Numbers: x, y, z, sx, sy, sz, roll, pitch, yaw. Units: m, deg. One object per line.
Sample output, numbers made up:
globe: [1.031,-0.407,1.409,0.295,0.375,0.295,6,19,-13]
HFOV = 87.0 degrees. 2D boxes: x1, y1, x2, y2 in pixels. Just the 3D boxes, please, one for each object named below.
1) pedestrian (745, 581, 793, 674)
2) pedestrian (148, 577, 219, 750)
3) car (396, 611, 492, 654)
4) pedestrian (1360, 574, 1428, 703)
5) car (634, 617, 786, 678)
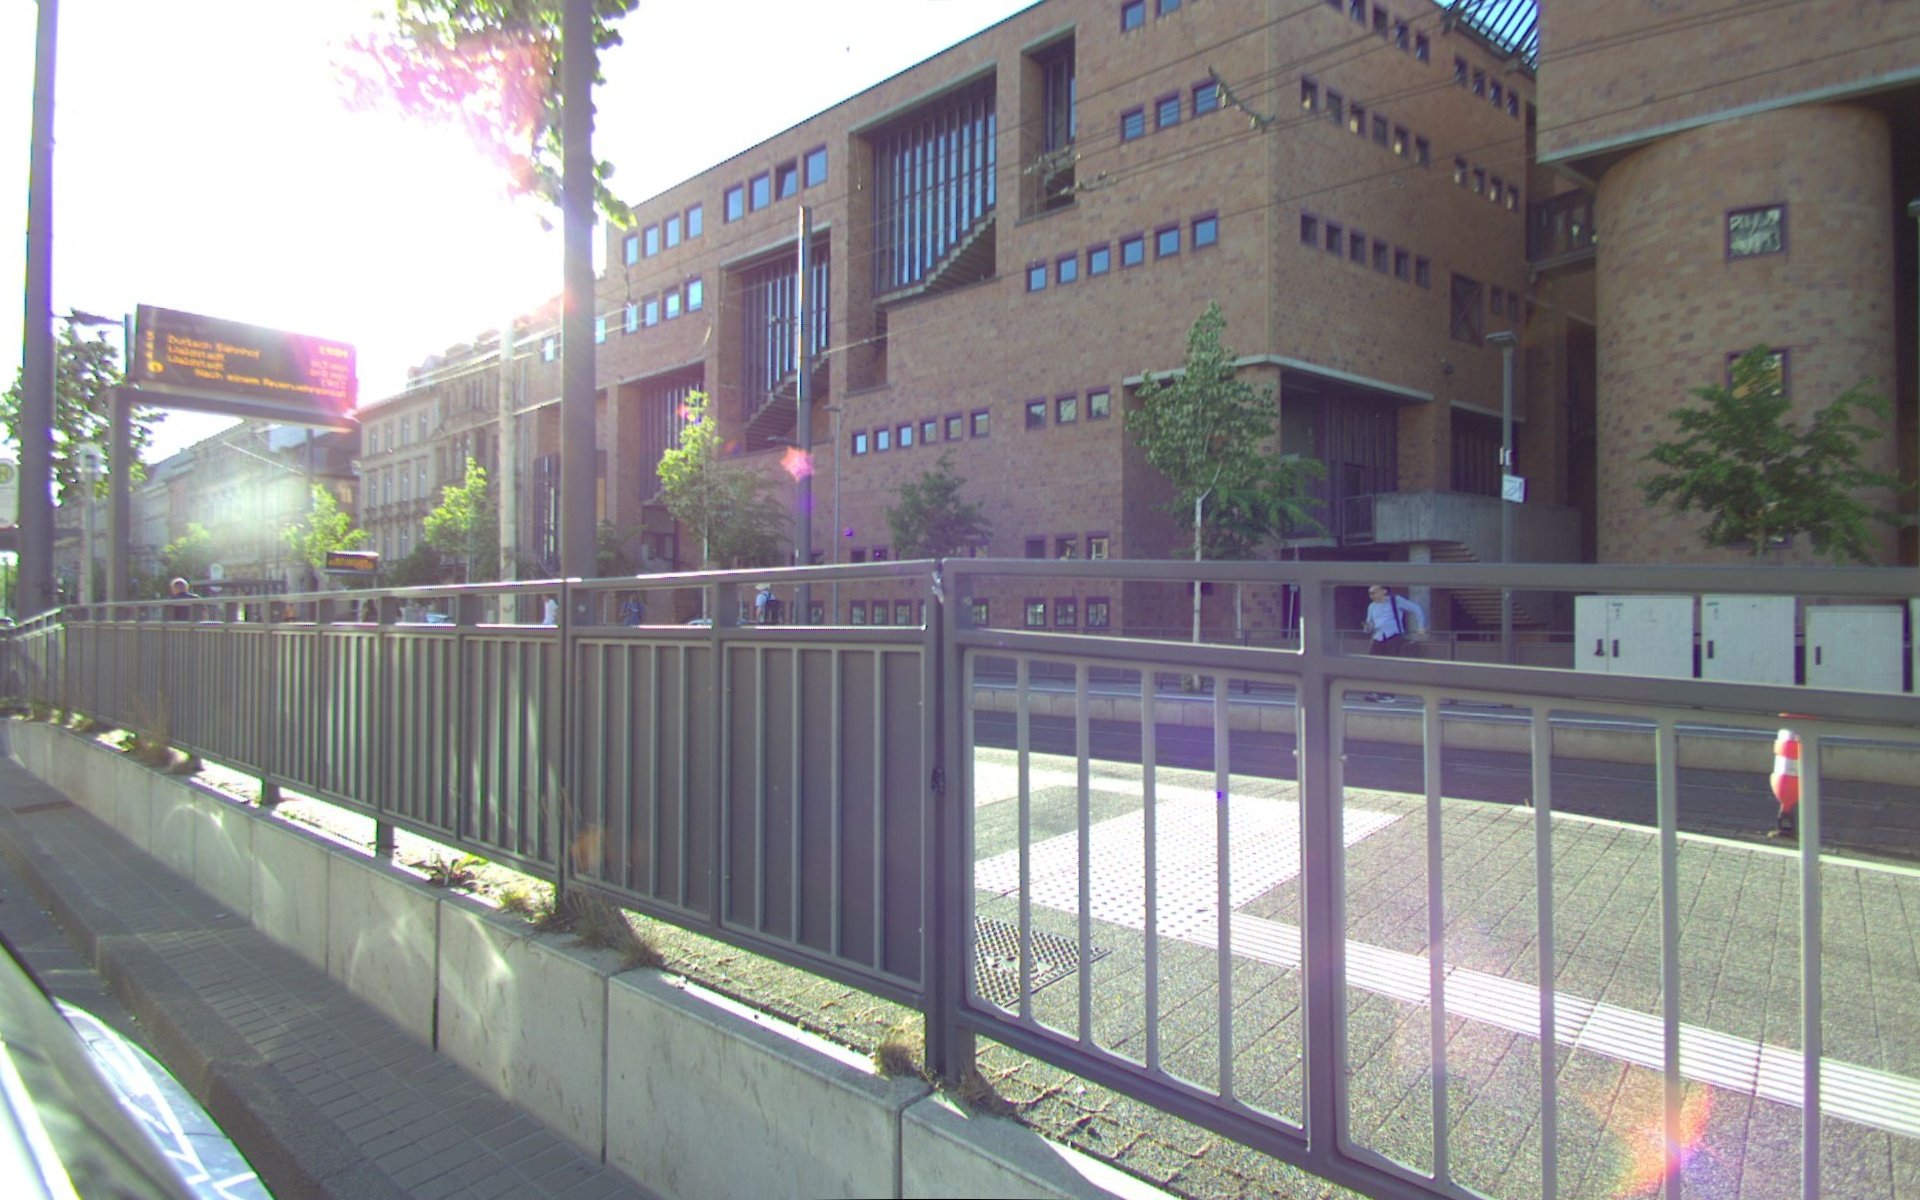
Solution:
pedestrian: [-3.841,0.540,20.355,0.668,1.821,0.677,0,0,40]
pedestrian: [-11.393,0.894,14.854,0.625,2.461,0.676,0,0,38]
car: [-20.345,1.261,39.838,4.237,1.580,1.807,0,-2,39]
pedestrian: [5.760,0.492,13.422,0.684,1.647,0.660,0,0,37]
car: [-7.214,1.309,28.945,4.691,1.580,1.806,0,-2,40]
